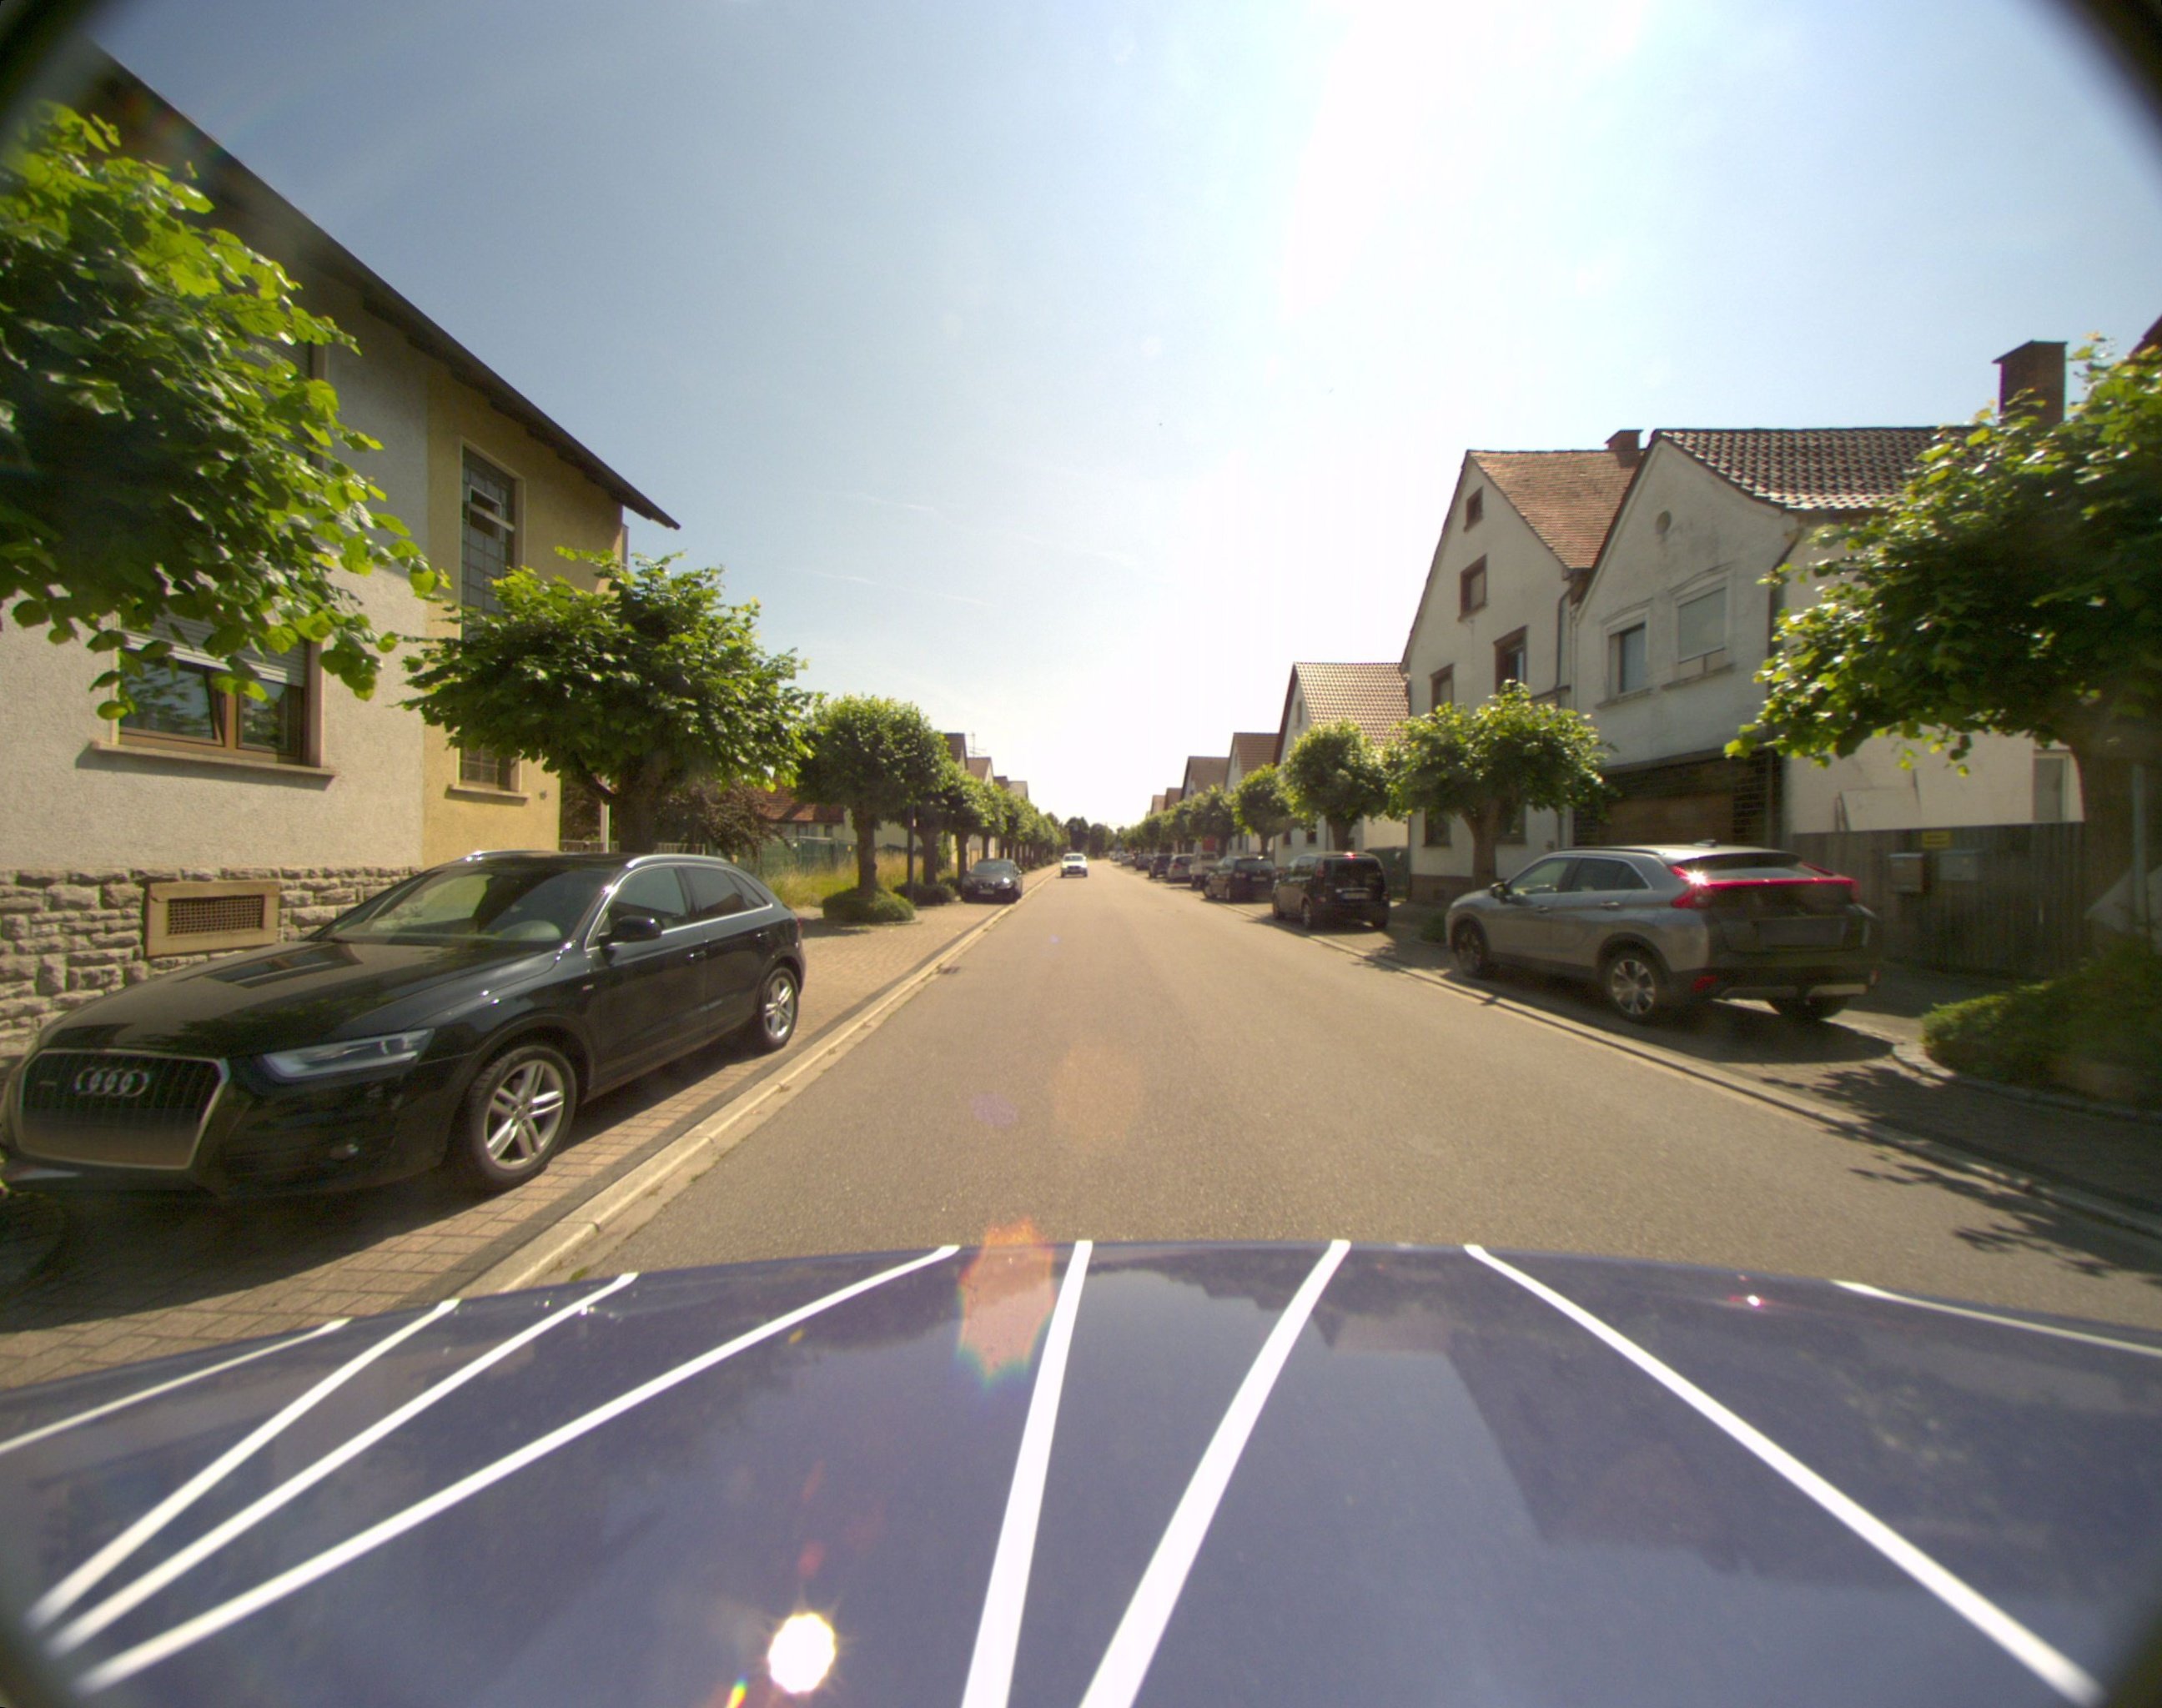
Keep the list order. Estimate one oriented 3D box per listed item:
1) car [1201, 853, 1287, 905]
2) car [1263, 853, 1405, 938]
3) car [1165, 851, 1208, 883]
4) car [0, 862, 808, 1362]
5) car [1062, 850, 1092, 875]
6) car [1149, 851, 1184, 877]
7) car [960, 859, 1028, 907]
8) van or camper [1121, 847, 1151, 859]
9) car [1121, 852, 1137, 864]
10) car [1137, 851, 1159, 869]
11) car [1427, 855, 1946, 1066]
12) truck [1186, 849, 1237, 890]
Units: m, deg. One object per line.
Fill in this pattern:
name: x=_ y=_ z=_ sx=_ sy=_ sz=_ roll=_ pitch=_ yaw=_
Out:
car: x=5.553 y=0.806 z=26.431 sx=1.791 sy=1.624 sz=3.998 roll=-1 pitch=1 yaw=-5
car: x=5.561 y=0.828 z=17.295 sx=1.857 sy=1.626 sz=4.056 roll=-2 pitch=1 yaw=0
car: x=5.994 y=0.702 z=43.631 sx=1.857 sy=1.604 sz=4.370 roll=-2 pitch=1 yaw=0
car: x=-3.435 y=0.878 z=4.598 sx=1.828 sy=1.576 sz=4.058 roll=2 pitch=0 yaw=4
car: x=-0.225 y=0.552 z=52.272 sx=1.857 sy=1.603 sz=4.135 roll=-2 pitch=0 yaw=2
car: x=5.689 y=0.660 z=50.956 sx=1.857 sy=1.626 sz=4.299 roll=-2 pitch=0 yaw=0
car: x=-2.889 y=0.919 z=26.022 sx=1.829 sy=1.424 sz=4.056 roll=2 pitch=0 yaw=0
van or camper: x=9.267 y=-0.181 z=127.901 sx=4.752 sy=1.851 sz=2.000 roll=-2 pitch=0 yaw=-1
car: x=6.347 y=0.562 z=99.826 sx=1.829 sy=1.474 sz=4.132 roll=-2 pitch=1 yaw=0
car: x=6.269 y=0.540 z=71.682 sx=1.857 sy=1.603 sz=4.135 roll=-2 pitch=0 yaw=2
car: x=5.841 y=0.848 z=8.244 sx=1.999 sy=1.643 sz=4.366 roll=0 pitch=0 yaw=-3
truck: x=6.015 y=0.674 z=35.437 sx=1.580 sy=1.755 sz=4.191 roll=-2 pitch=1 yaw=0
